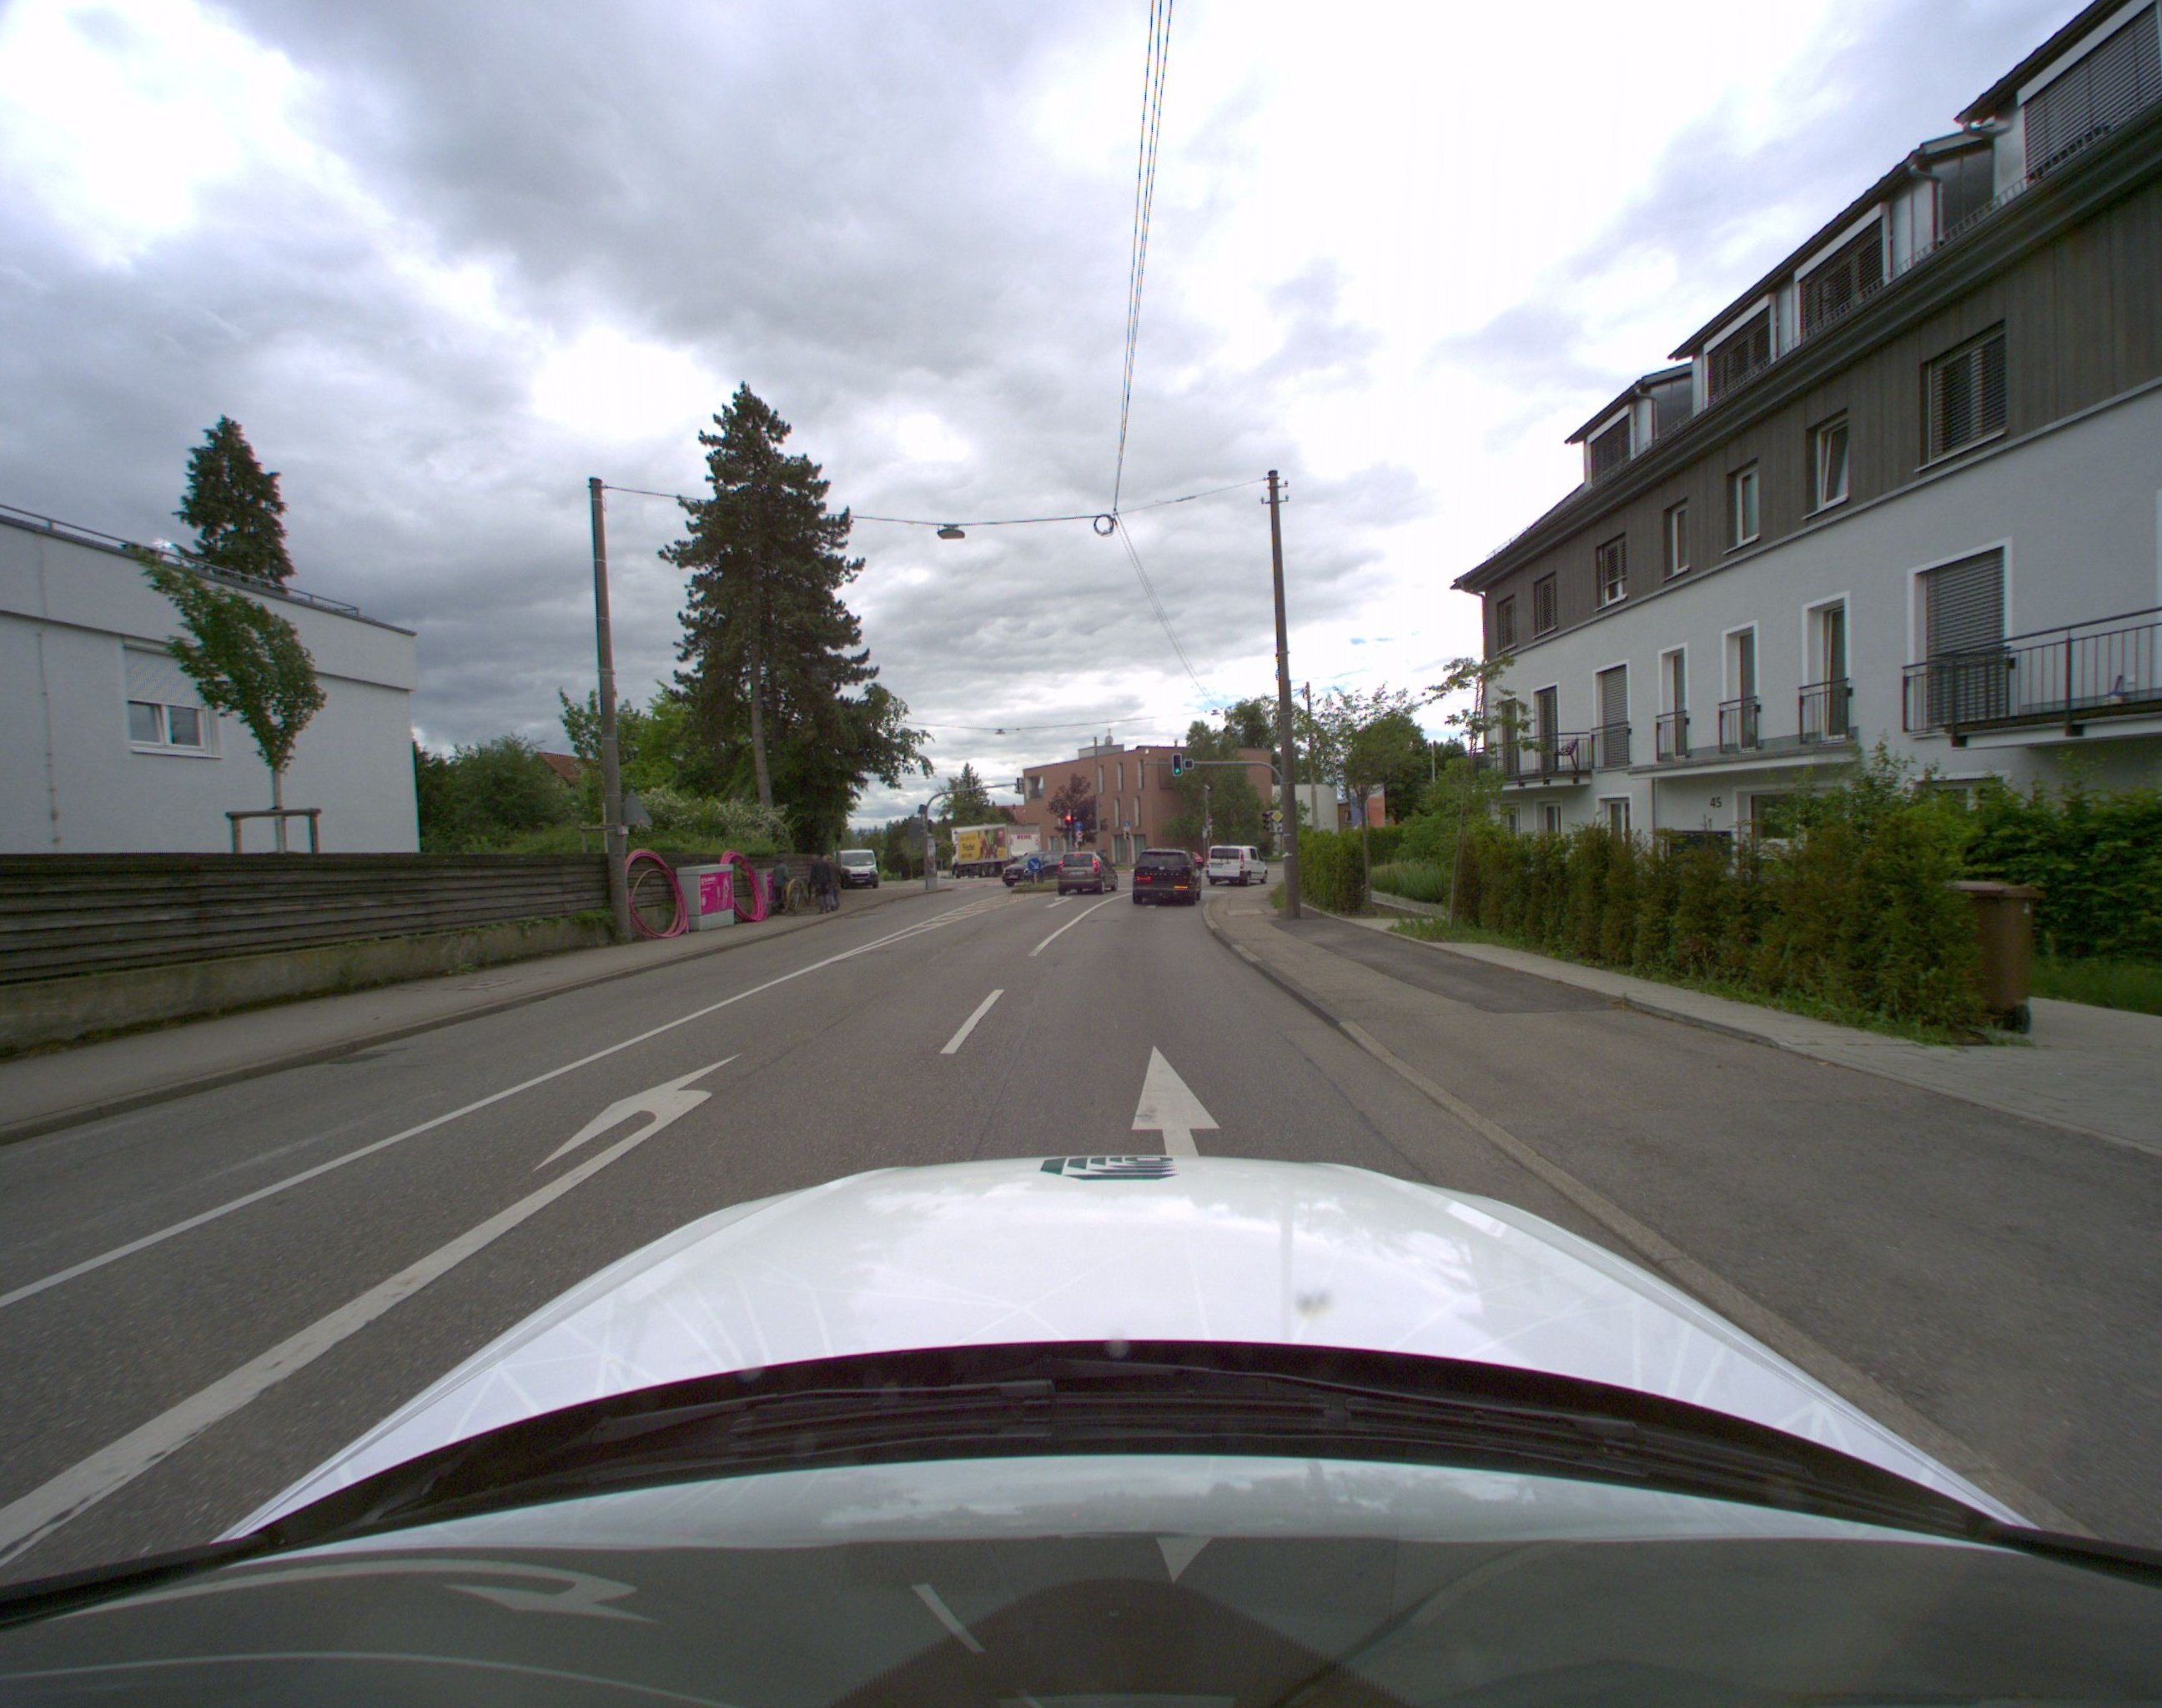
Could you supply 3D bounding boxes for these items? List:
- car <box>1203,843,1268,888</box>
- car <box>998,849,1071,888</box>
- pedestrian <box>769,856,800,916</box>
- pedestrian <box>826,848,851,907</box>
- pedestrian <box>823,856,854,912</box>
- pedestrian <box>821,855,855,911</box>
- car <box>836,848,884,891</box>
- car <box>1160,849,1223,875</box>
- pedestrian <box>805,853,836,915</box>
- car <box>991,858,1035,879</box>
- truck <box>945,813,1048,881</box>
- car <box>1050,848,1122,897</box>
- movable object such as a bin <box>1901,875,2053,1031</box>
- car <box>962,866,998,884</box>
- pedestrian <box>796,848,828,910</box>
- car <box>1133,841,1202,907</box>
[{"bbox_3d":[7.539,0.491,39.434,1.944,2.013,4.454,1,1,26],"label":"car"},{"bbox_3d":[-2.286,0.735,41.100,1.977,1.798,4.542,-3,-2,20],"label":"car"},{"bbox_3d":[-8.947,0.952,24.538,0.818,1.763,0.861,-2,0,-22],"label":"pedestrian"},{"bbox_3d":[-8.417,0.802,28.318,0.708,2.013,1.019,-2,0,-14],"label":"pedestrian"},{"bbox_3d":[-7.896,0.970,26.499,0.873,1.753,0.689,-1,-1,-23],"label":"pedestrian"},{"bbox_3d":[-7.711,0.918,25.850,0.757,1.734,0.687,-2,-1,-45],"label":"pedestrian"},{"bbox_3d":[-12.723,0.856,46.514,2.287,2.227,6.432,-2,0,-18],"label":"car"},{"bbox_3d":[7.391,0.522,54.273,1.975,1.564,4.243,-2,-1,45],"label":"car"},{"bbox_3d":[-7.874,0.892,24.580,0.754,1.837,0.609,-2,0,-28],"label":"pedestrian"},{"bbox_3d":[-6.924,1.445,83.289,4.010,2.014,1.982,-1,-1,-28],"label":"car"},{"bbox_3d":[-6.797,-0.465,62.703,3.146,4.734,11.678,-2,0,-31],"label":"truck"},{"bbox_3d":[0.270,0.662,31.248,1.880,1.706,4.014,-2,0,12],"label":"car"},{"bbox_3d":[6.741,0.699,6.130,0.719,1.073,0.674,1,-2,-36],"label":"movable object such as a bin"},{"bbox_3d":[-12.147,2.533,97.815,3.994,2.013,1.990,-2,0,-15],"label":"car"},{"bbox_3d":[-8.964,0.818,27.181,0.701,2.013,0.814,-1,0,4],"label":"pedestrian"},{"bbox_3d":[2.726,0.587,25.683,1.984,1.882,4.006,1,0,6],"label":"car"}]
